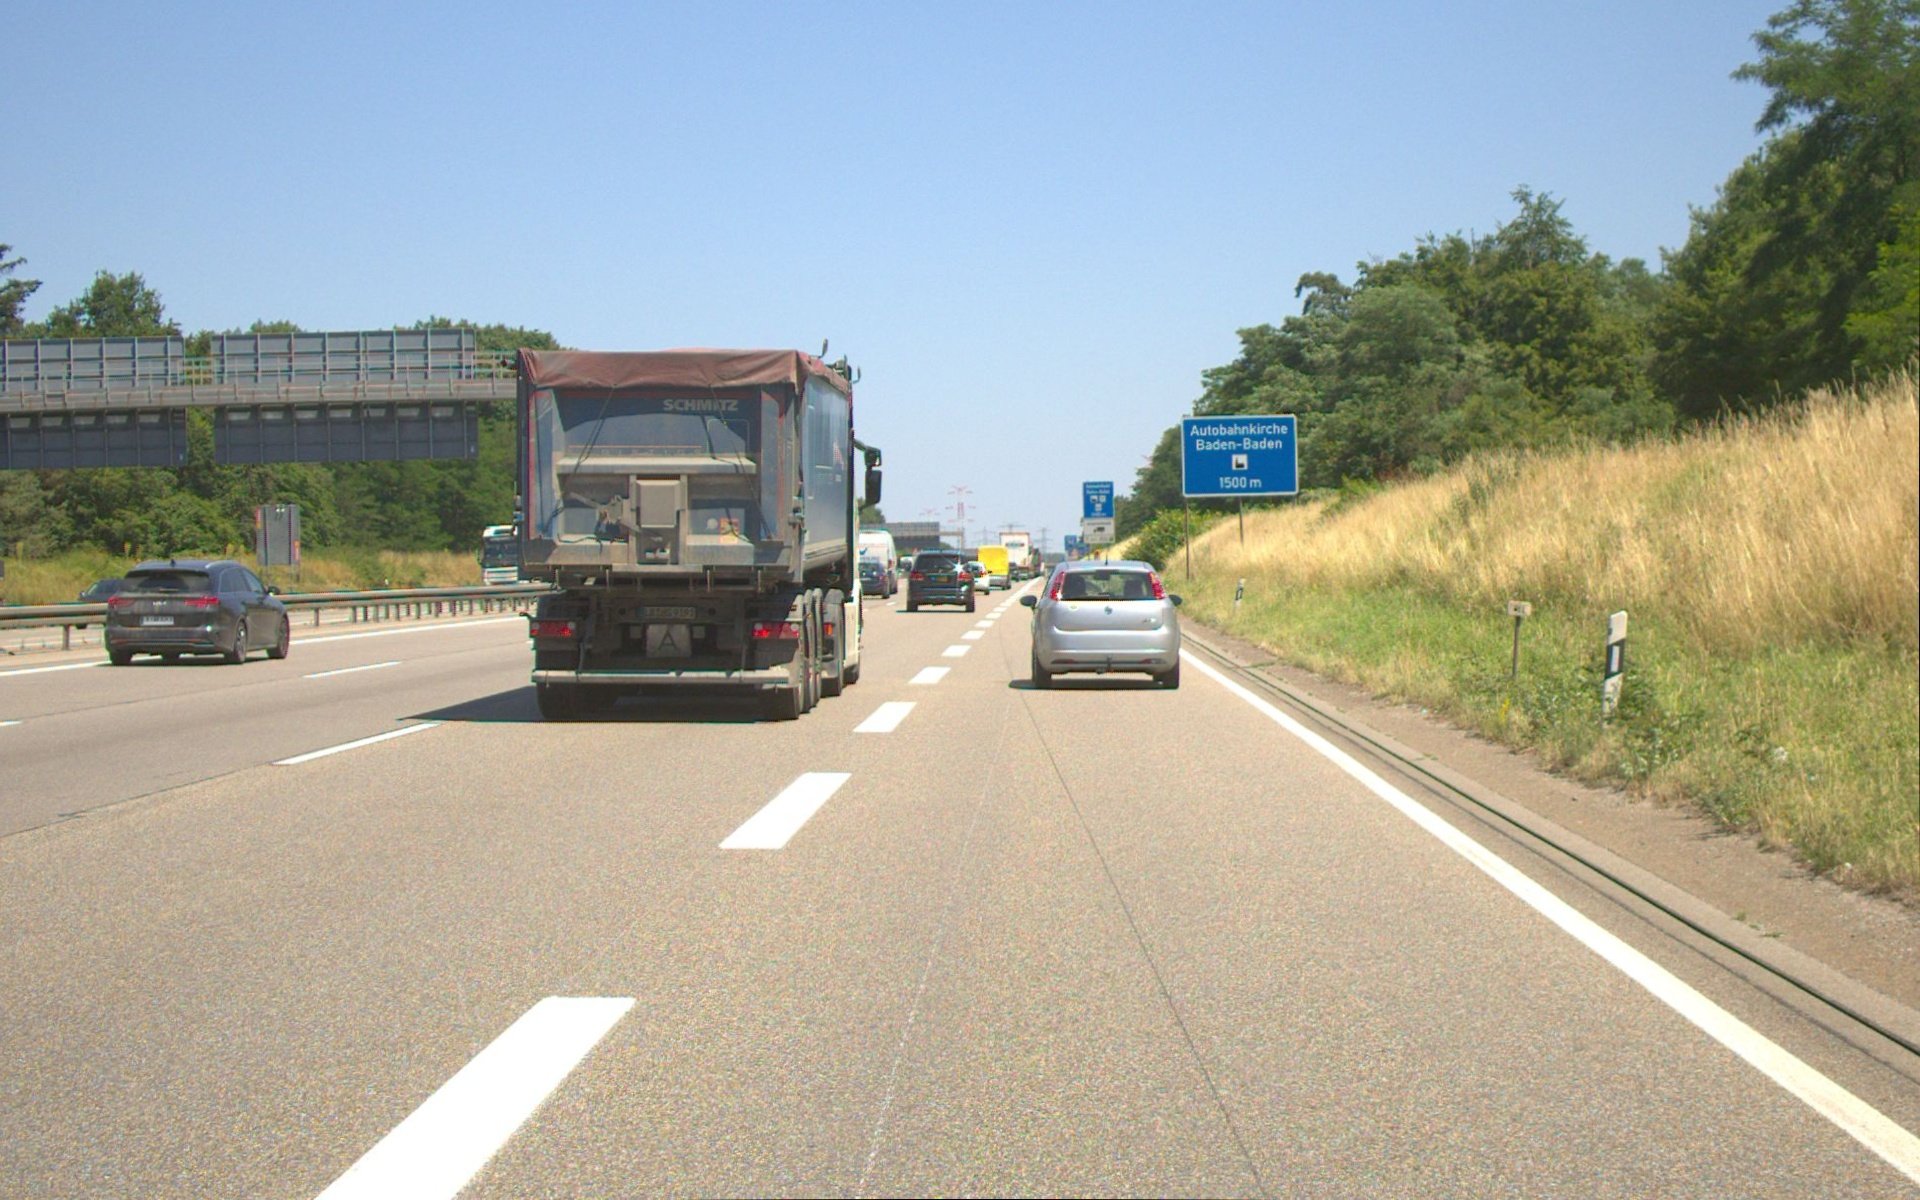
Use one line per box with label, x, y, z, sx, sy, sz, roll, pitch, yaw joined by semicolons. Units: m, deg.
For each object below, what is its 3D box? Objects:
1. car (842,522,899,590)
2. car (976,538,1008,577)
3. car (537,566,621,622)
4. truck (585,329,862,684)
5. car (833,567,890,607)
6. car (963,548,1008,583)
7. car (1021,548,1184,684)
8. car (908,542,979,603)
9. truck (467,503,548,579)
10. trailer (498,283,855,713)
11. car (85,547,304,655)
car;-3.938;-1.945;152.084;2.260;2.940;6.114;1;1;1
car;1.671;-2.220;179.540;1.611;2.007;4.000;1;1;1
car;-10.578;-0.180;95.638;1.703;1.469;4.597;0;1;1
truck;-2.585;-1.039;39.322;2.684;3.746;5.944;0;1;1
car;-3.743;-0.516;131.705;1.894;1.464;4.261;1;1;2
car;1.111;-1.496;148.908;1.821;1.486;3.737;1;0;2
car;1.630;0.151;40.413;1.719;1.486;3.737;1;1;-1
car;-0.447;-0.784;97.894;1.832;1.666;4.000;1;0;2
truck;-24.330;-3.158;185.251;3.214;4.004;6.215;0;1;3
trailer;-2.615;-0.975;34.585;2.737;3.746;9.109;0;1;1
car;-10.691;-0.028;48.360;1.832;1.427;4.999;0;1;2
